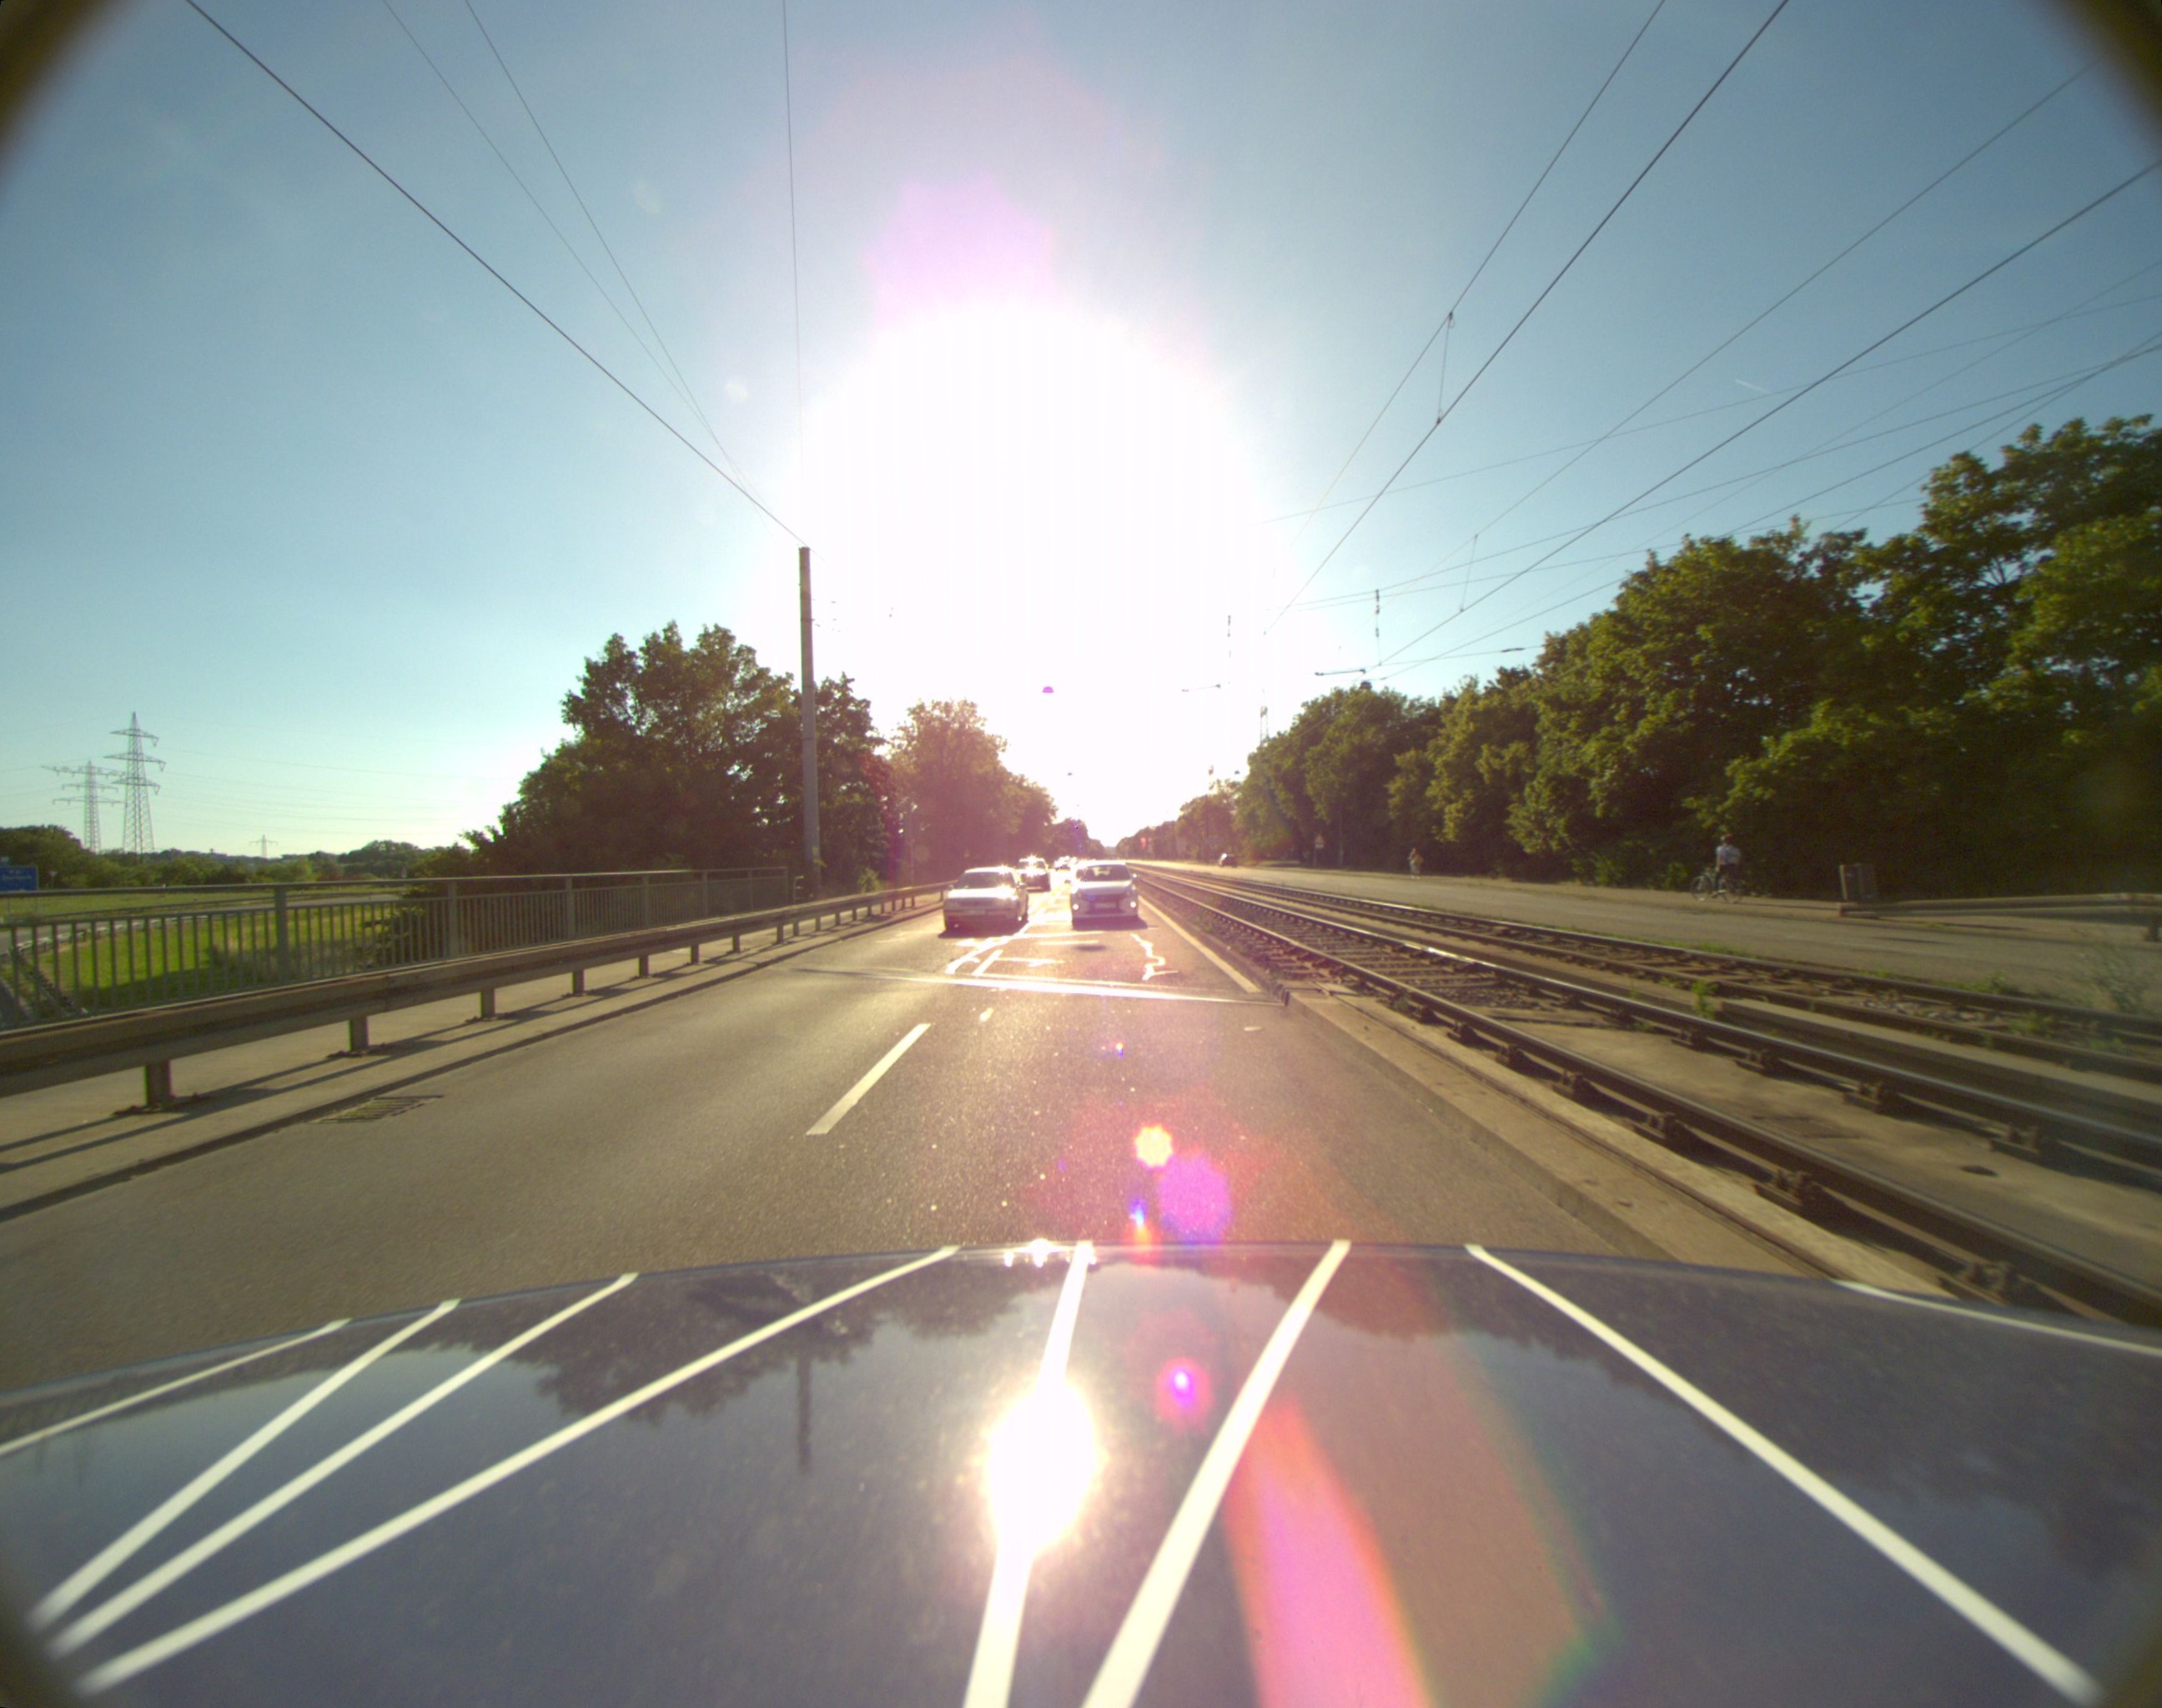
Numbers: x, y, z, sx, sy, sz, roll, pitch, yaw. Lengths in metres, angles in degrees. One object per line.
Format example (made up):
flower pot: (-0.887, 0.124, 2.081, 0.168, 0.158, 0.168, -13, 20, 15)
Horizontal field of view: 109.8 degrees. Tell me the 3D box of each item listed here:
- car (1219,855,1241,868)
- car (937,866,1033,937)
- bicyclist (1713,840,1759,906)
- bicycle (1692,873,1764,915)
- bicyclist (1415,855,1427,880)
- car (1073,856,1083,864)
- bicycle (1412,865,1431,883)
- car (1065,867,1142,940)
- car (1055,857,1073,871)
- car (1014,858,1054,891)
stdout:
car: (18.571, 0.892, 94.757, 1.977, 1.512, 3.956, -2, 1, 2)
car: (-2.267, 1.088, 18.954, 1.693, 1.409, 4.135, -2, 1, 2)
bicyclist: (17.829, 0.498, 20.709, 0.498, 1.741, 0.833, -2, 1, 1)
bicycle: (17.862, 1.080, 21.021, 0.505, 1.046, 1.727, -2, 1, 1)
bicyclist: (19.631, 0.782, 43.870, 0.422, 1.420, 0.755, -2, 1, 7)
car: (-0.634, 1.214, 162.858, 1.904, 1.512, 3.956, -2, 1, 1)
bicycle: (19.646, 1.138, 43.863, 0.425, 0.958, 1.914, -2, 1, 7)
car: (0.581, 1.173, 19.396, 1.709, 1.503, 3.862, -2, 1, 2)
car: (-2.018, 1.184, 91.531, 1.904, 1.512, 3.956, -2, 1, 2)
car: (-2.415, 1.032, 40.032, 1.709, 1.512, 3.844, -2, 1, 2)
